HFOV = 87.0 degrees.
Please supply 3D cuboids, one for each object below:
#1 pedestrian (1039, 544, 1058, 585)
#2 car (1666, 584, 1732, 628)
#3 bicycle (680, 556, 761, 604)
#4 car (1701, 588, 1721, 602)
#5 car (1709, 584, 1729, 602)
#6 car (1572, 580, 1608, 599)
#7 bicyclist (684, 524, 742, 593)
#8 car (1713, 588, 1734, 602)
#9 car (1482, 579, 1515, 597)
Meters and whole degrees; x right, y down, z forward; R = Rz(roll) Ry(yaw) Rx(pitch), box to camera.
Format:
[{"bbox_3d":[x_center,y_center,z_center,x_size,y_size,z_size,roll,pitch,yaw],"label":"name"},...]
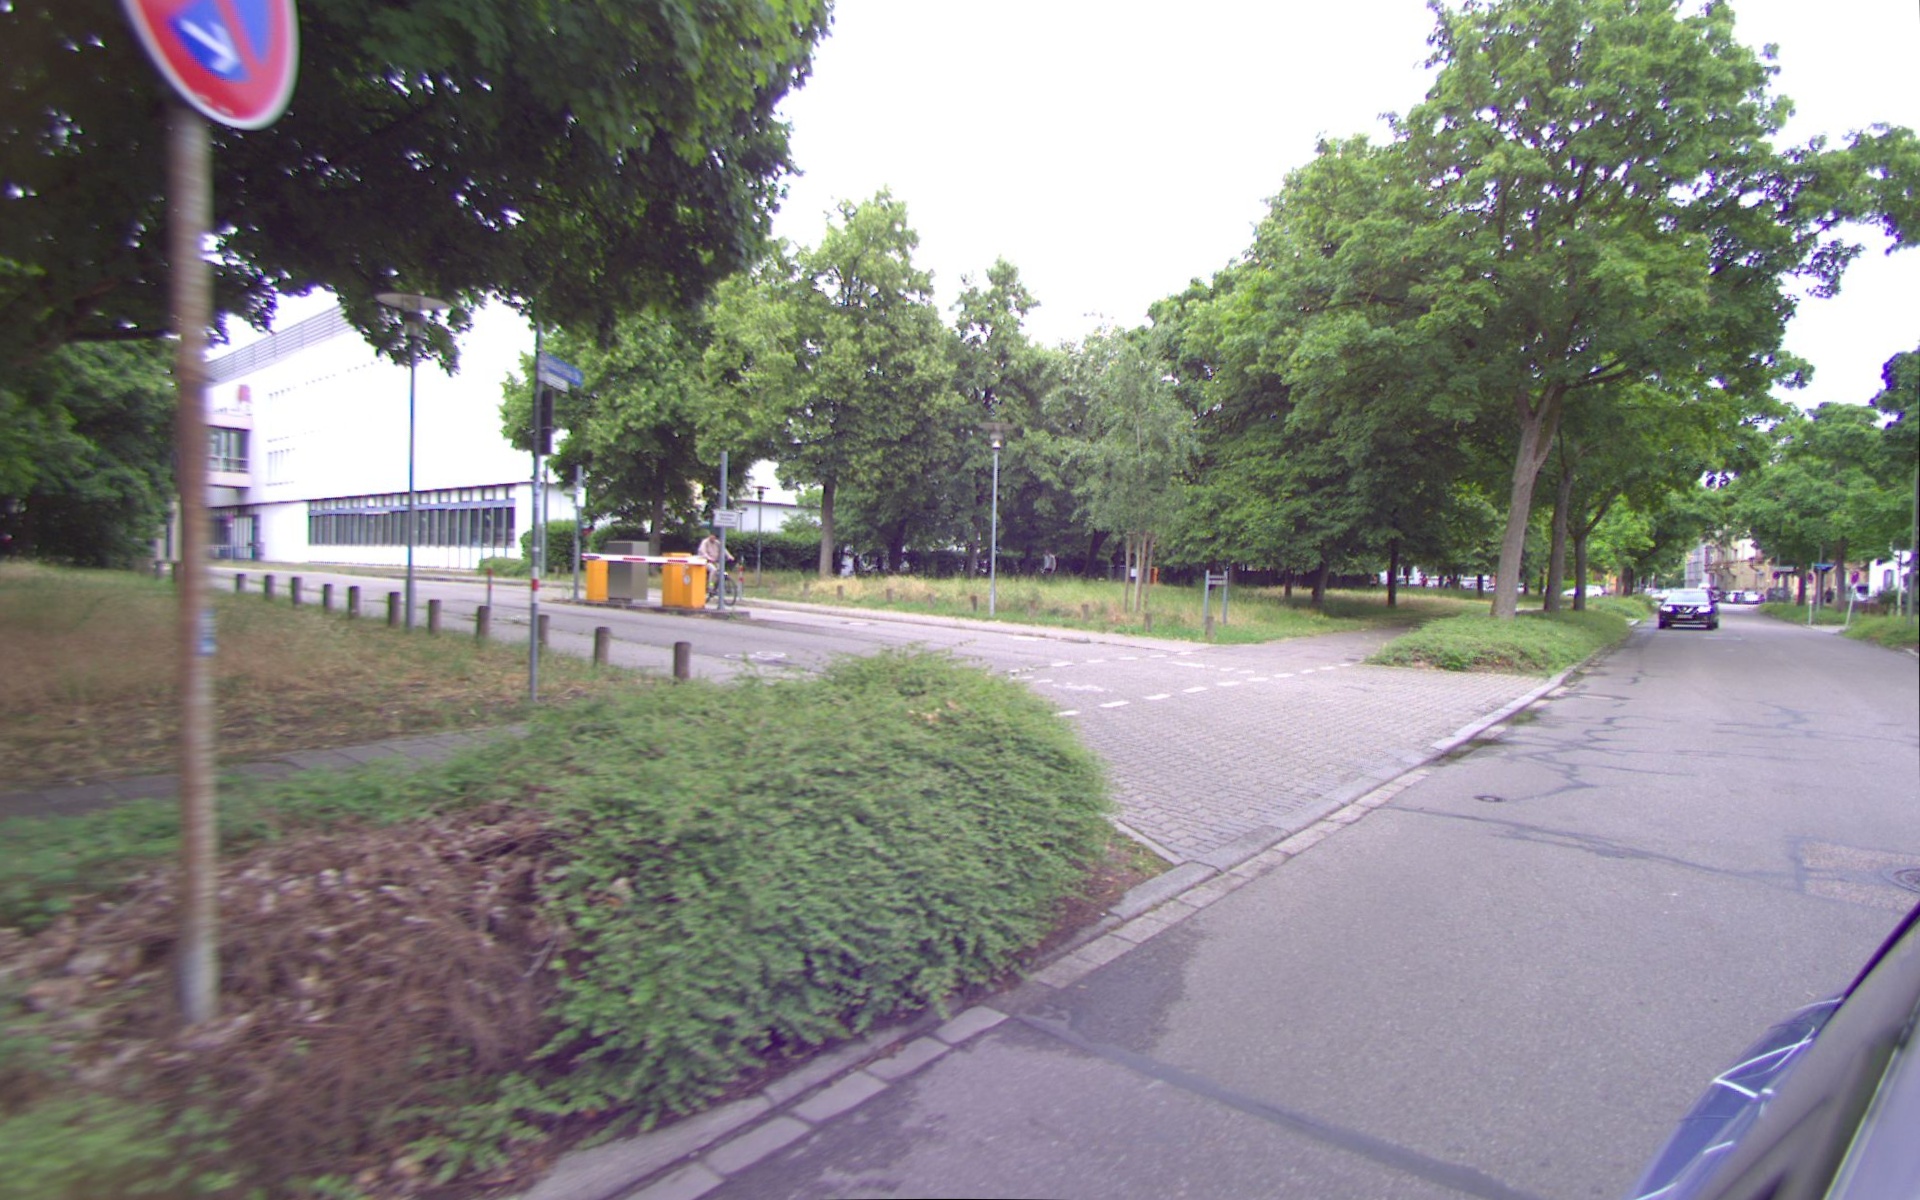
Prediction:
[{"bbox_3d":[4.032,-1.621,45.998,0.563,1.820,0.543,1,2,-41],"label":"pedestrian"},{"bbox_3d":[30.204,0.189,41.293,1.990,1.504,4.479,2,3,38],"label":"car"},{"bbox_3d":[-5.943,-0.511,25.006,2.133,1.088,0.857,4,3,41],"label":"bicycle"},{"bbox_3d":[108.866,-0.783,146.729,1.771,1.882,3.623,3,2,30],"label":"car"},{"bbox_3d":[105.992,-1.035,141.321,1.771,2.443,3.623,3,2,30],"label":"car"},{"bbox_3d":[70.001,-1.168,112.456,3.284,1.948,1.793,2,1,29],"label":"car"},{"bbox_3d":[-6.134,-1.031,25.127,0.919,1.665,1.006,4,2,40],"label":"bicyclist"},{"bbox_3d":[103.791,-0.700,137.578,1.771,1.786,3.623,3,2,30],"label":"car"},{"bbox_3d":[62.344,-1.407,117.170,3.284,1.948,1.793,2,1,29],"label":"car"}]
